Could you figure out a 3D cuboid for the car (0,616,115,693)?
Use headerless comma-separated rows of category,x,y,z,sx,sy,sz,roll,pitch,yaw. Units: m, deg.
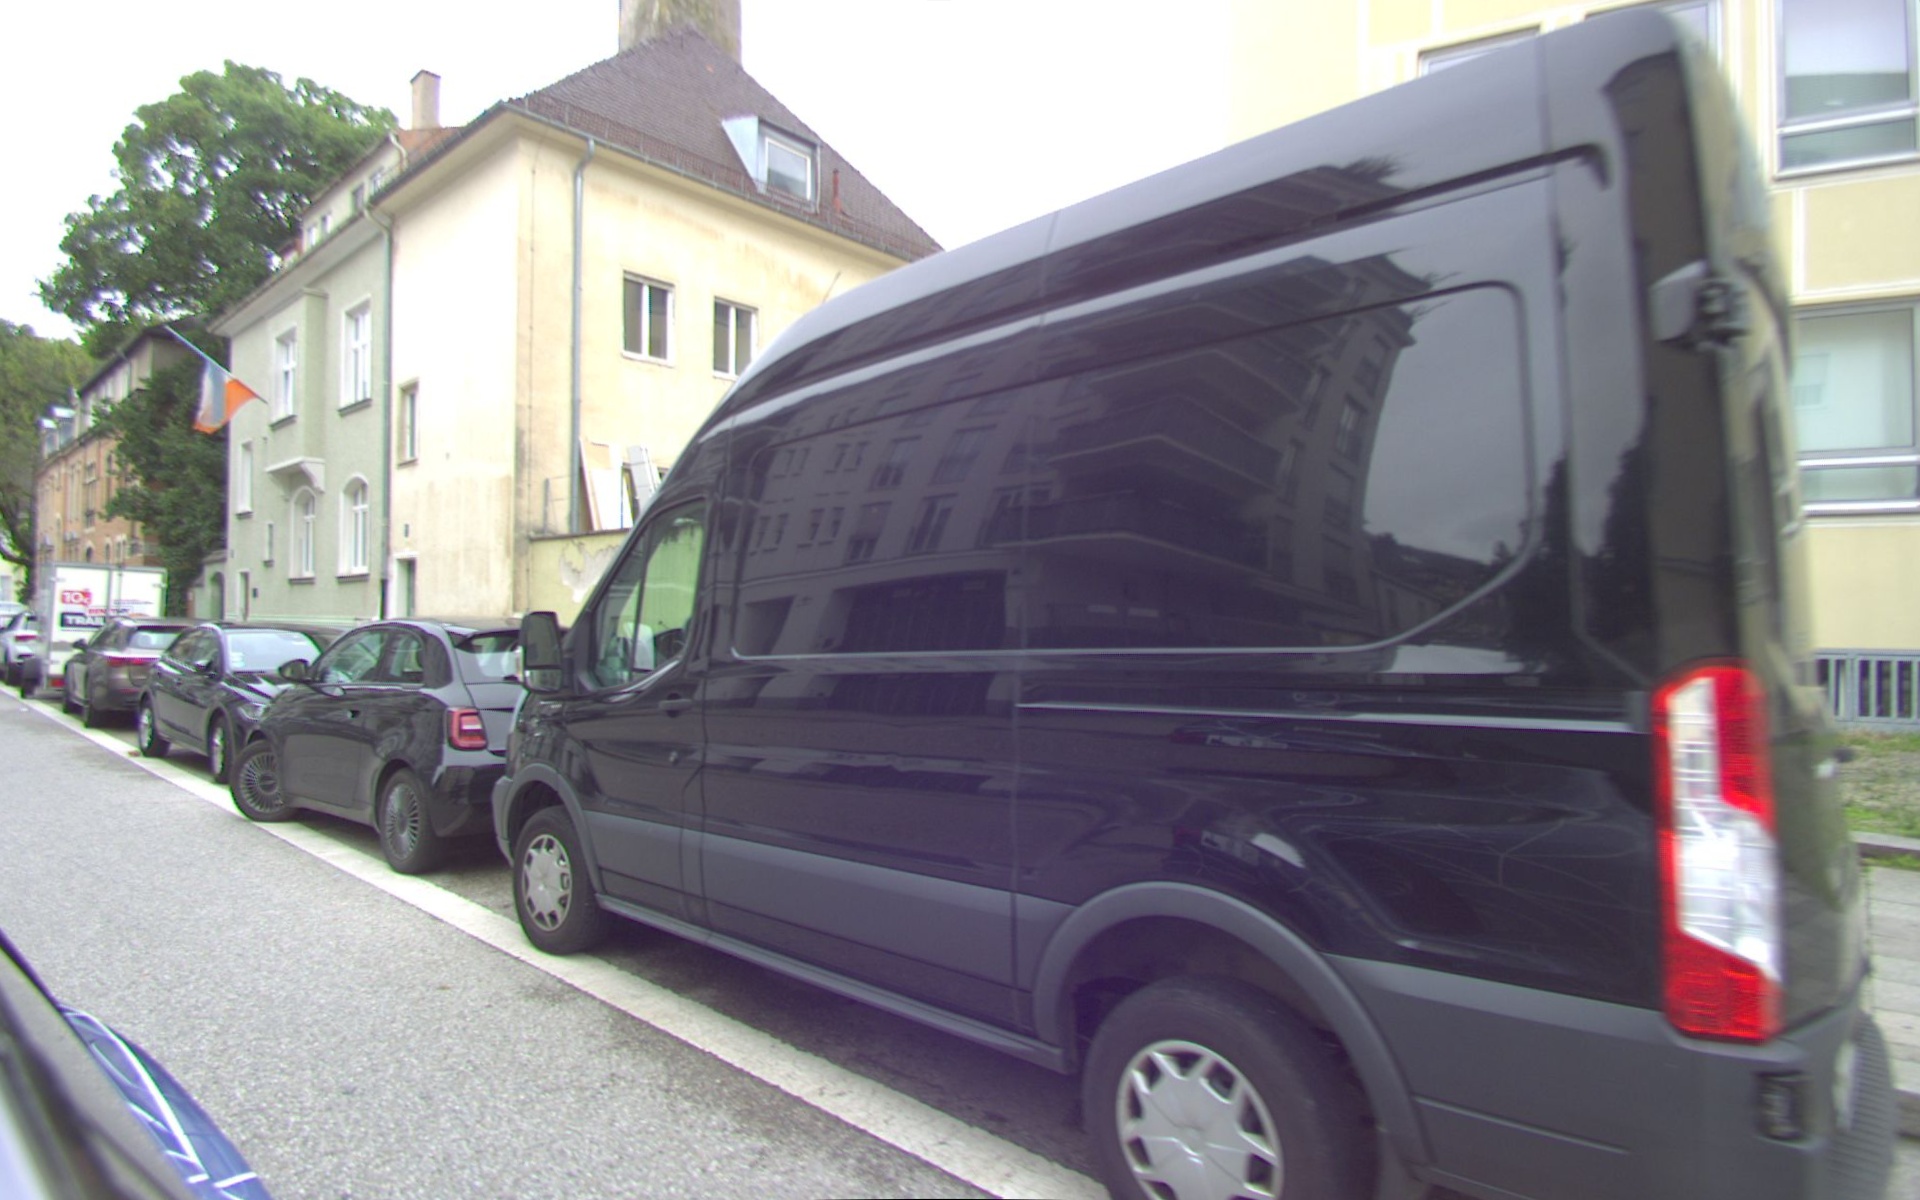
car,-20.015,1.129,22.173,3.841,1.525,1.744,-1,-2,42

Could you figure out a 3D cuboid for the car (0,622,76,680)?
car,-23.829,1.244,25.639,3.746,1.357,1.793,-1,-1,43

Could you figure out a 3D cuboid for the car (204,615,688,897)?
car,-3.715,0.860,7.150,3.484,1.505,1.686,-1,-1,37

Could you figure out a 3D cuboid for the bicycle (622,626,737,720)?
bicycle,-3.702,0.922,13.298,1.741,1.140,0.573,-1,-1,40

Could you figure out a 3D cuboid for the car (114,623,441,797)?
car,-7.164,0.979,10.477,4.066,1.436,1.676,0,-2,39

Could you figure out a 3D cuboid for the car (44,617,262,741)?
car,-11.819,1.024,14.700,4.643,1.511,1.793,-1,-2,43

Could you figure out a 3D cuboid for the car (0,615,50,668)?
car,-28.223,1.183,29.685,3.926,1.463,1.794,-1,-1,41

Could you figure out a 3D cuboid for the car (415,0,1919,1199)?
car,0.124,0.239,4.033,5.653,2.666,2.272,-1,-3,43

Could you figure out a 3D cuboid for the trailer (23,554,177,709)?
trailer,-15.878,0.598,18.630,1.792,2.555,3.391,6,-5,-44

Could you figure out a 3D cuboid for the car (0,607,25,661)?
car,-32.550,1.106,33.643,3.649,1.747,1.794,-1,-1,42
